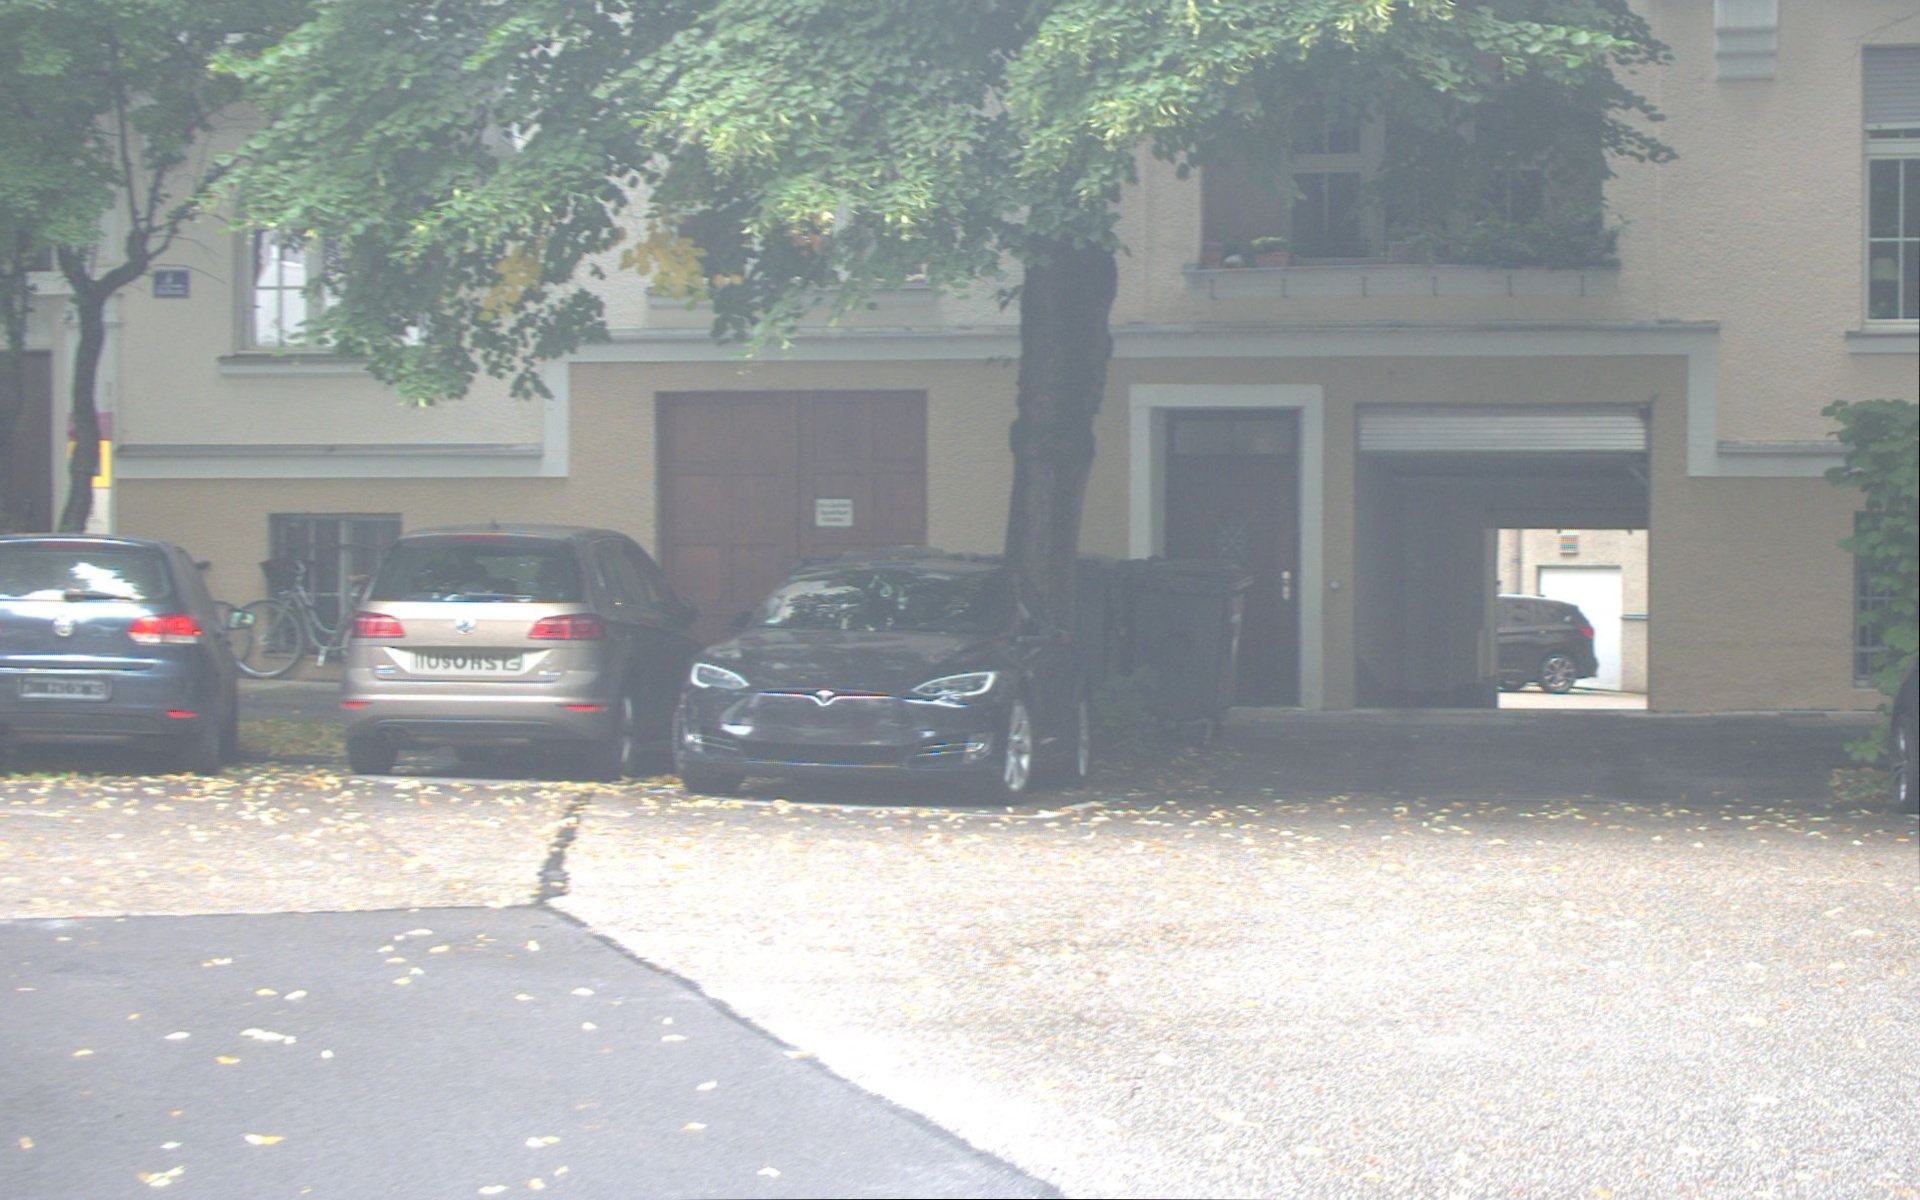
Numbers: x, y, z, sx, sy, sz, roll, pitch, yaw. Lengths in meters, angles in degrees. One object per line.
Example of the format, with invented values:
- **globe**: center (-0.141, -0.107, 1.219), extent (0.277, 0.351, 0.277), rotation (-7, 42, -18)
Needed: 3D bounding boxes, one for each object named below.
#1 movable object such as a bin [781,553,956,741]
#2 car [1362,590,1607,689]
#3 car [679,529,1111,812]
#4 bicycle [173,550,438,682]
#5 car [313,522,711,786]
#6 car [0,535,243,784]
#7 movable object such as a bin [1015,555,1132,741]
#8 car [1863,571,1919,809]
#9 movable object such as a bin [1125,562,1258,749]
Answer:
- **movable object such as a bin**: center (-0.682, 0.340, 26.053), extent (1.150, 1.344, 1.156), rotation (1, 2, 6)
- **car**: center (8.632, 0.645, 56.778), extent (3.845, 1.513, 1.656), rotation (1, 1, 4)
- **car**: center (-0.267, 0.422, 20.687), extent (1.705, 1.462, 4.286), rotation (2, -1, 11)
- **bicycle**: center (-5.791, 0.131, 30.428), extent (2.229, 1.111, 0.576), rotation (1, 1, 9)
- **car**: center (-2.791, 0.289, 22.291), extent (1.839, 1.525, 4.024), rotation (1, 1, 3)
- **car**: center (-5.533, 0.316, 21.999), extent (1.791, 1.426, 4.001), rotation (1, 1, -12)
- **movable object such as a bin**: center (0.864, 0.339, 25.874), extent (0.713, 1.343, 1.373), rotation (1, 1, 8)
- **car**: center (6.443, 0.526, 19.442), extent (1.839, 1.378, 4.342), rotation (0, 0, 5)
- **movable object such as a bin**: center (1.733, 0.389, 25.512), extent (0.863, 1.300, 1.432), rotation (3, 1, 6)
